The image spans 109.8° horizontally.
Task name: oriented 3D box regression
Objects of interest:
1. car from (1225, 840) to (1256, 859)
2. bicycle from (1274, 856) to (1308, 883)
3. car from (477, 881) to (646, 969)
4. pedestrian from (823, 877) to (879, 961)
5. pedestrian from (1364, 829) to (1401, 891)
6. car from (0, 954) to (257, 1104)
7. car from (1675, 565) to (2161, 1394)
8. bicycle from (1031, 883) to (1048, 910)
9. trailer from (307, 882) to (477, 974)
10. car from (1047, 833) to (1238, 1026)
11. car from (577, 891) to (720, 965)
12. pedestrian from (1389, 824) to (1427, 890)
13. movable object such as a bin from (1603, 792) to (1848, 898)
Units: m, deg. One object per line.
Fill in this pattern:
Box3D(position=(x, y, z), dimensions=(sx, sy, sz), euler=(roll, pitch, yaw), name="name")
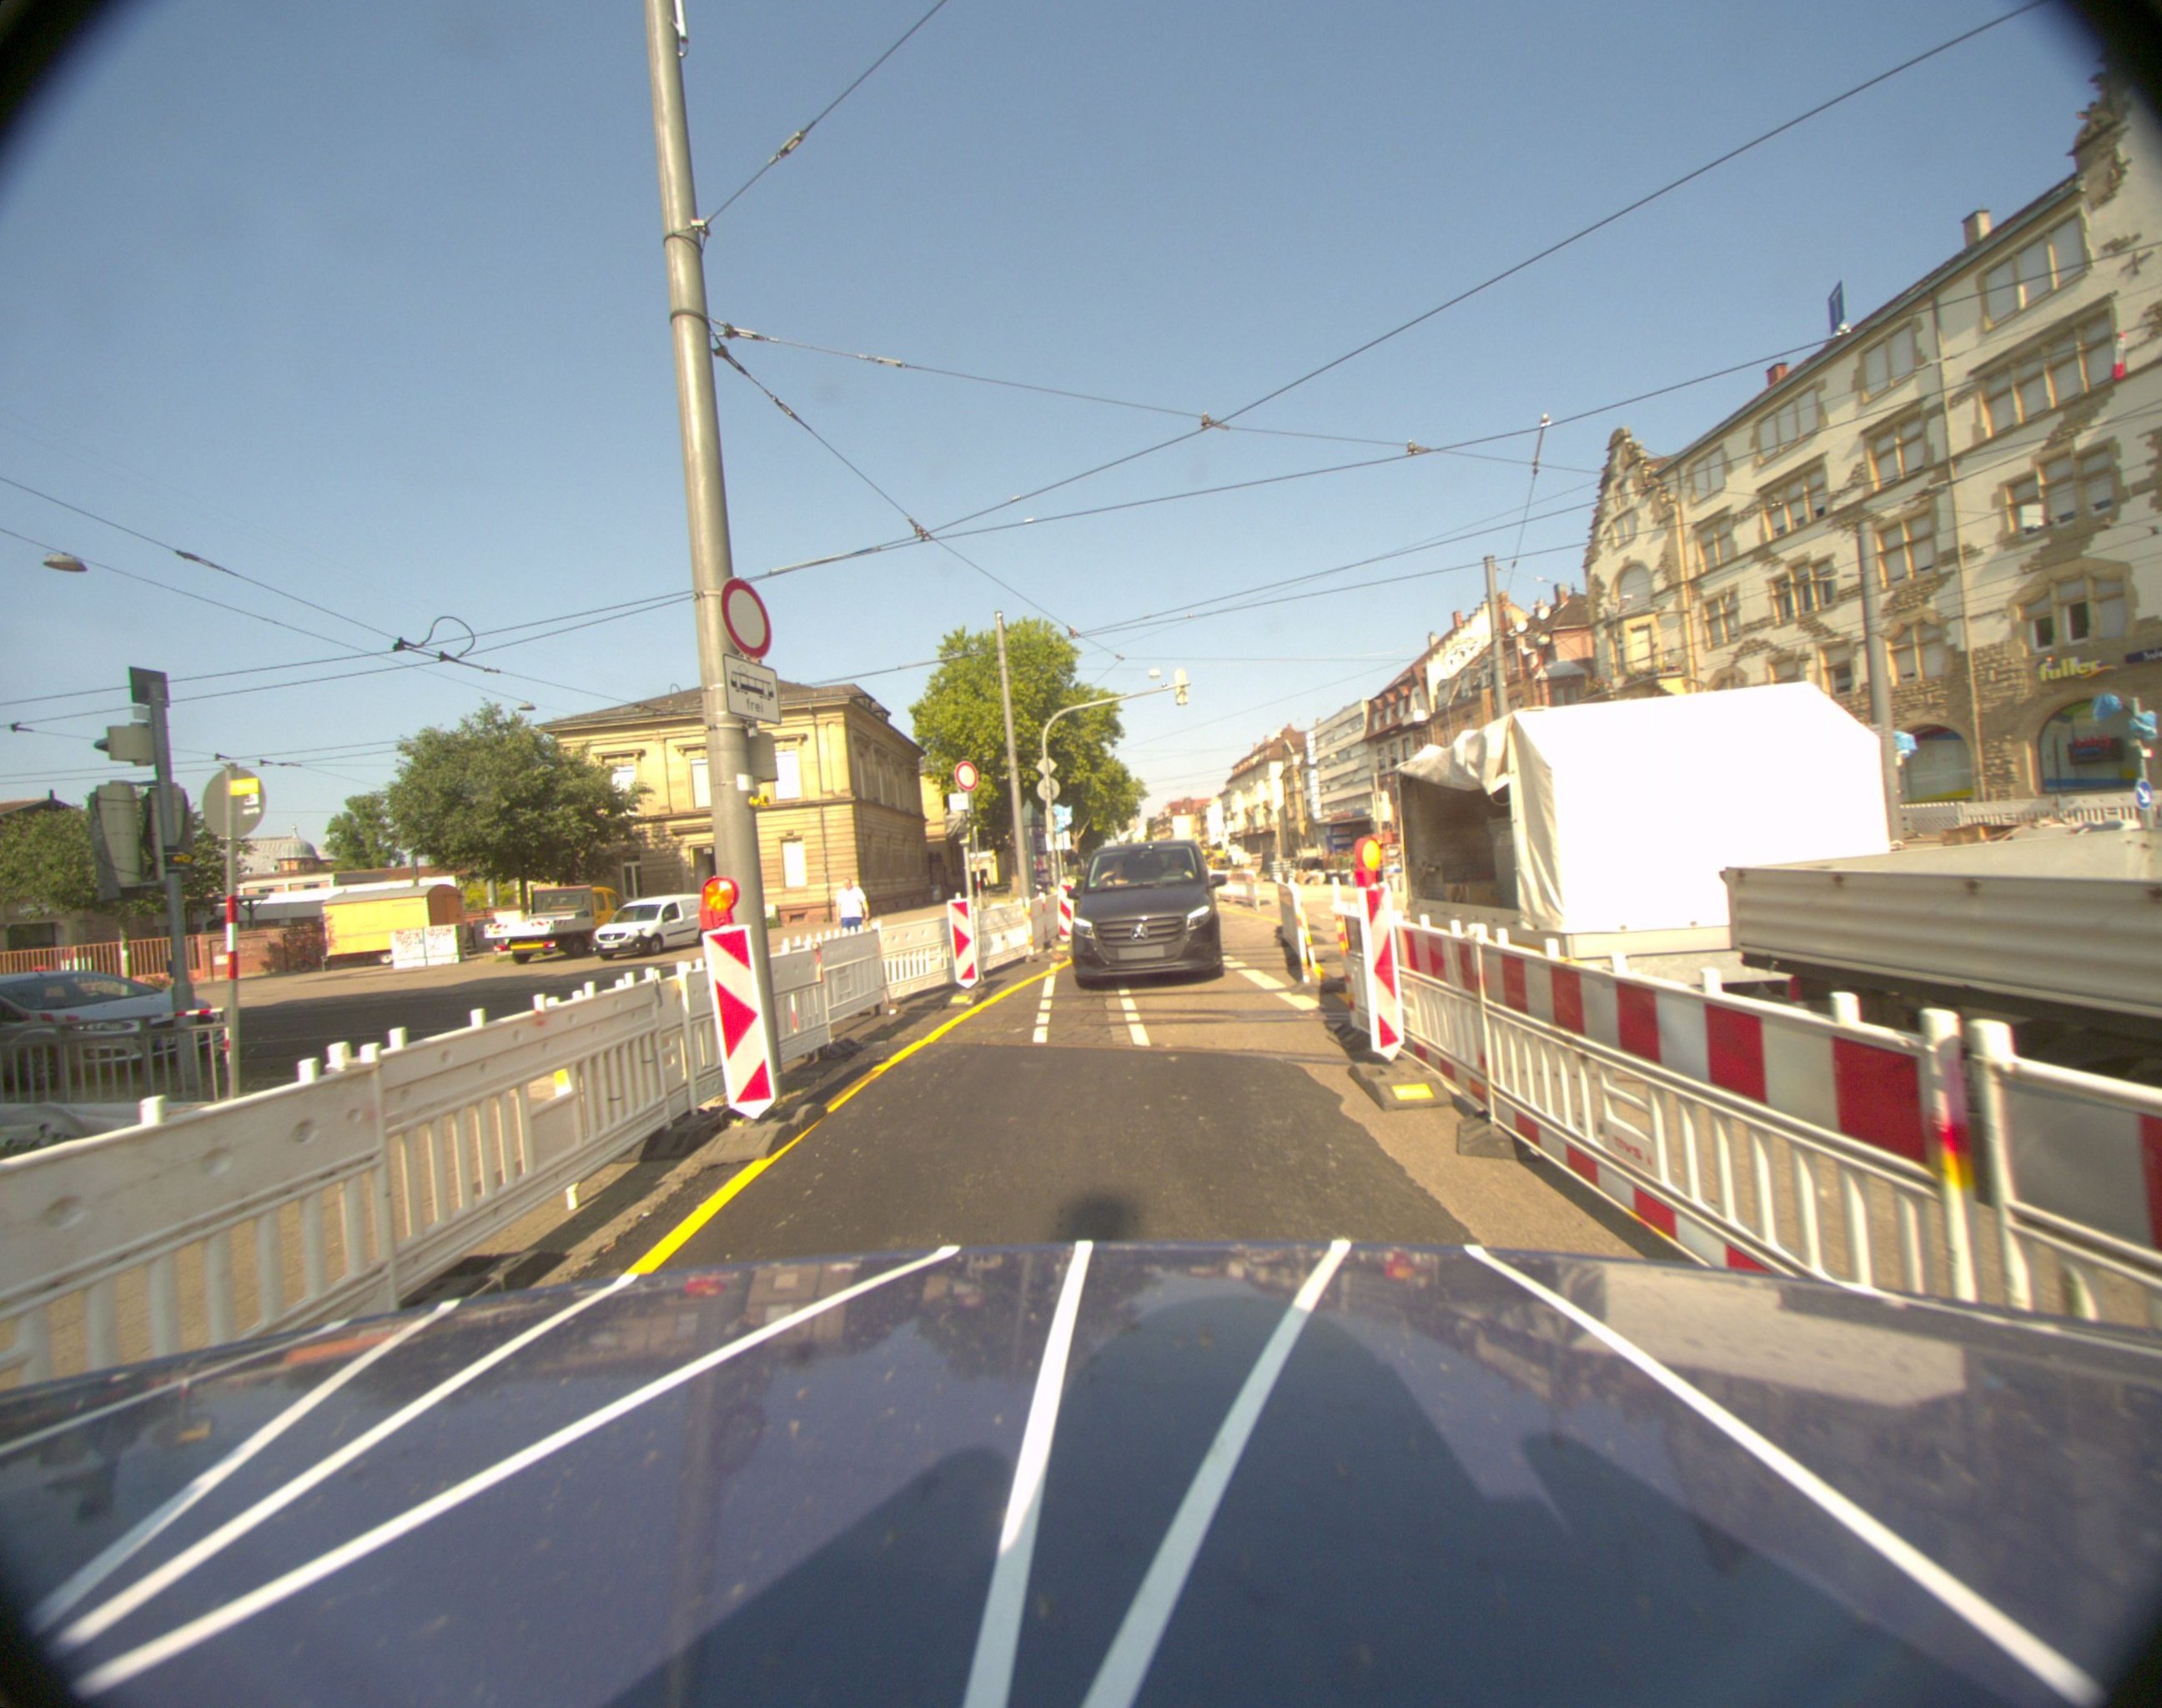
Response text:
Box3D(position=(20.264, -0.580, 96.899), dimensions=(2.367, 2.122, 7.122), euler=(-6, 0, 0), name="car")
Box3D(position=(9.246, 0.683, 33.577), dimensions=(0.564, 1.092, 1.966), euler=(-7, 1, -10), name="bicycle")
Box3D(position=(-17.614, 2.279, 26.206), dimensions=(2.264, 2.408, 5.486), euler=(-6, 0, -6), name="car")
Box3D(position=(-5.035, 1.409, 16.692), dimensions=(0.868, 1.727, 0.671), euler=(-6, 0, -1), name="pedestrian")
Box3D(position=(9.717, 0.192, 24.525), dimensions=(0.715, 1.915, 0.683), euler=(-5, 0, -37), name="pedestrian")
Box3D(position=(-14.002, 2.358, 10.181), dimensions=(4.009, 1.528, 1.665), euler=(-4, 0, 1), name="car")
Box3D(position=(4.269, 0.283, 0.191), dimensions=(2.213, 2.410, 7.198), euler=(-6, 0, -2), name="car")
Box3D(position=(-1.744, 1.764, 31.916), dimensions=(0.539, 1.000, 1.571), euler=(-5, 0, 1), name="bicycle")
Box3D(position=(-27.478, 2.872, 30.491), dimensions=(4.120, 3.030, 2.513), euler=(-5, 1, -6), name="trailer")
Box3D(position=(0.687, 0.822, 10.299), dimensions=(1.853, 1.875, 4.179), euler=(-7, 0, 1), name="car")
Box3D(position=(-13.781, 2.306, 24.564), dimensions=(1.908, 1.773, 4.225), euler=(-5, 1, 3), name="car")
Box3D(position=(10.317, 0.083, 23.961), dimensions=(0.698, 2.003, 0.673), euler=(-5, 0, -37), name="pedestrian")
Box3D(position=(11.498, -0.138, 13.863), dimensions=(1.604, 1.549, 3.286), euler=(-6, 0, 2), name="movable object such as a bin")
